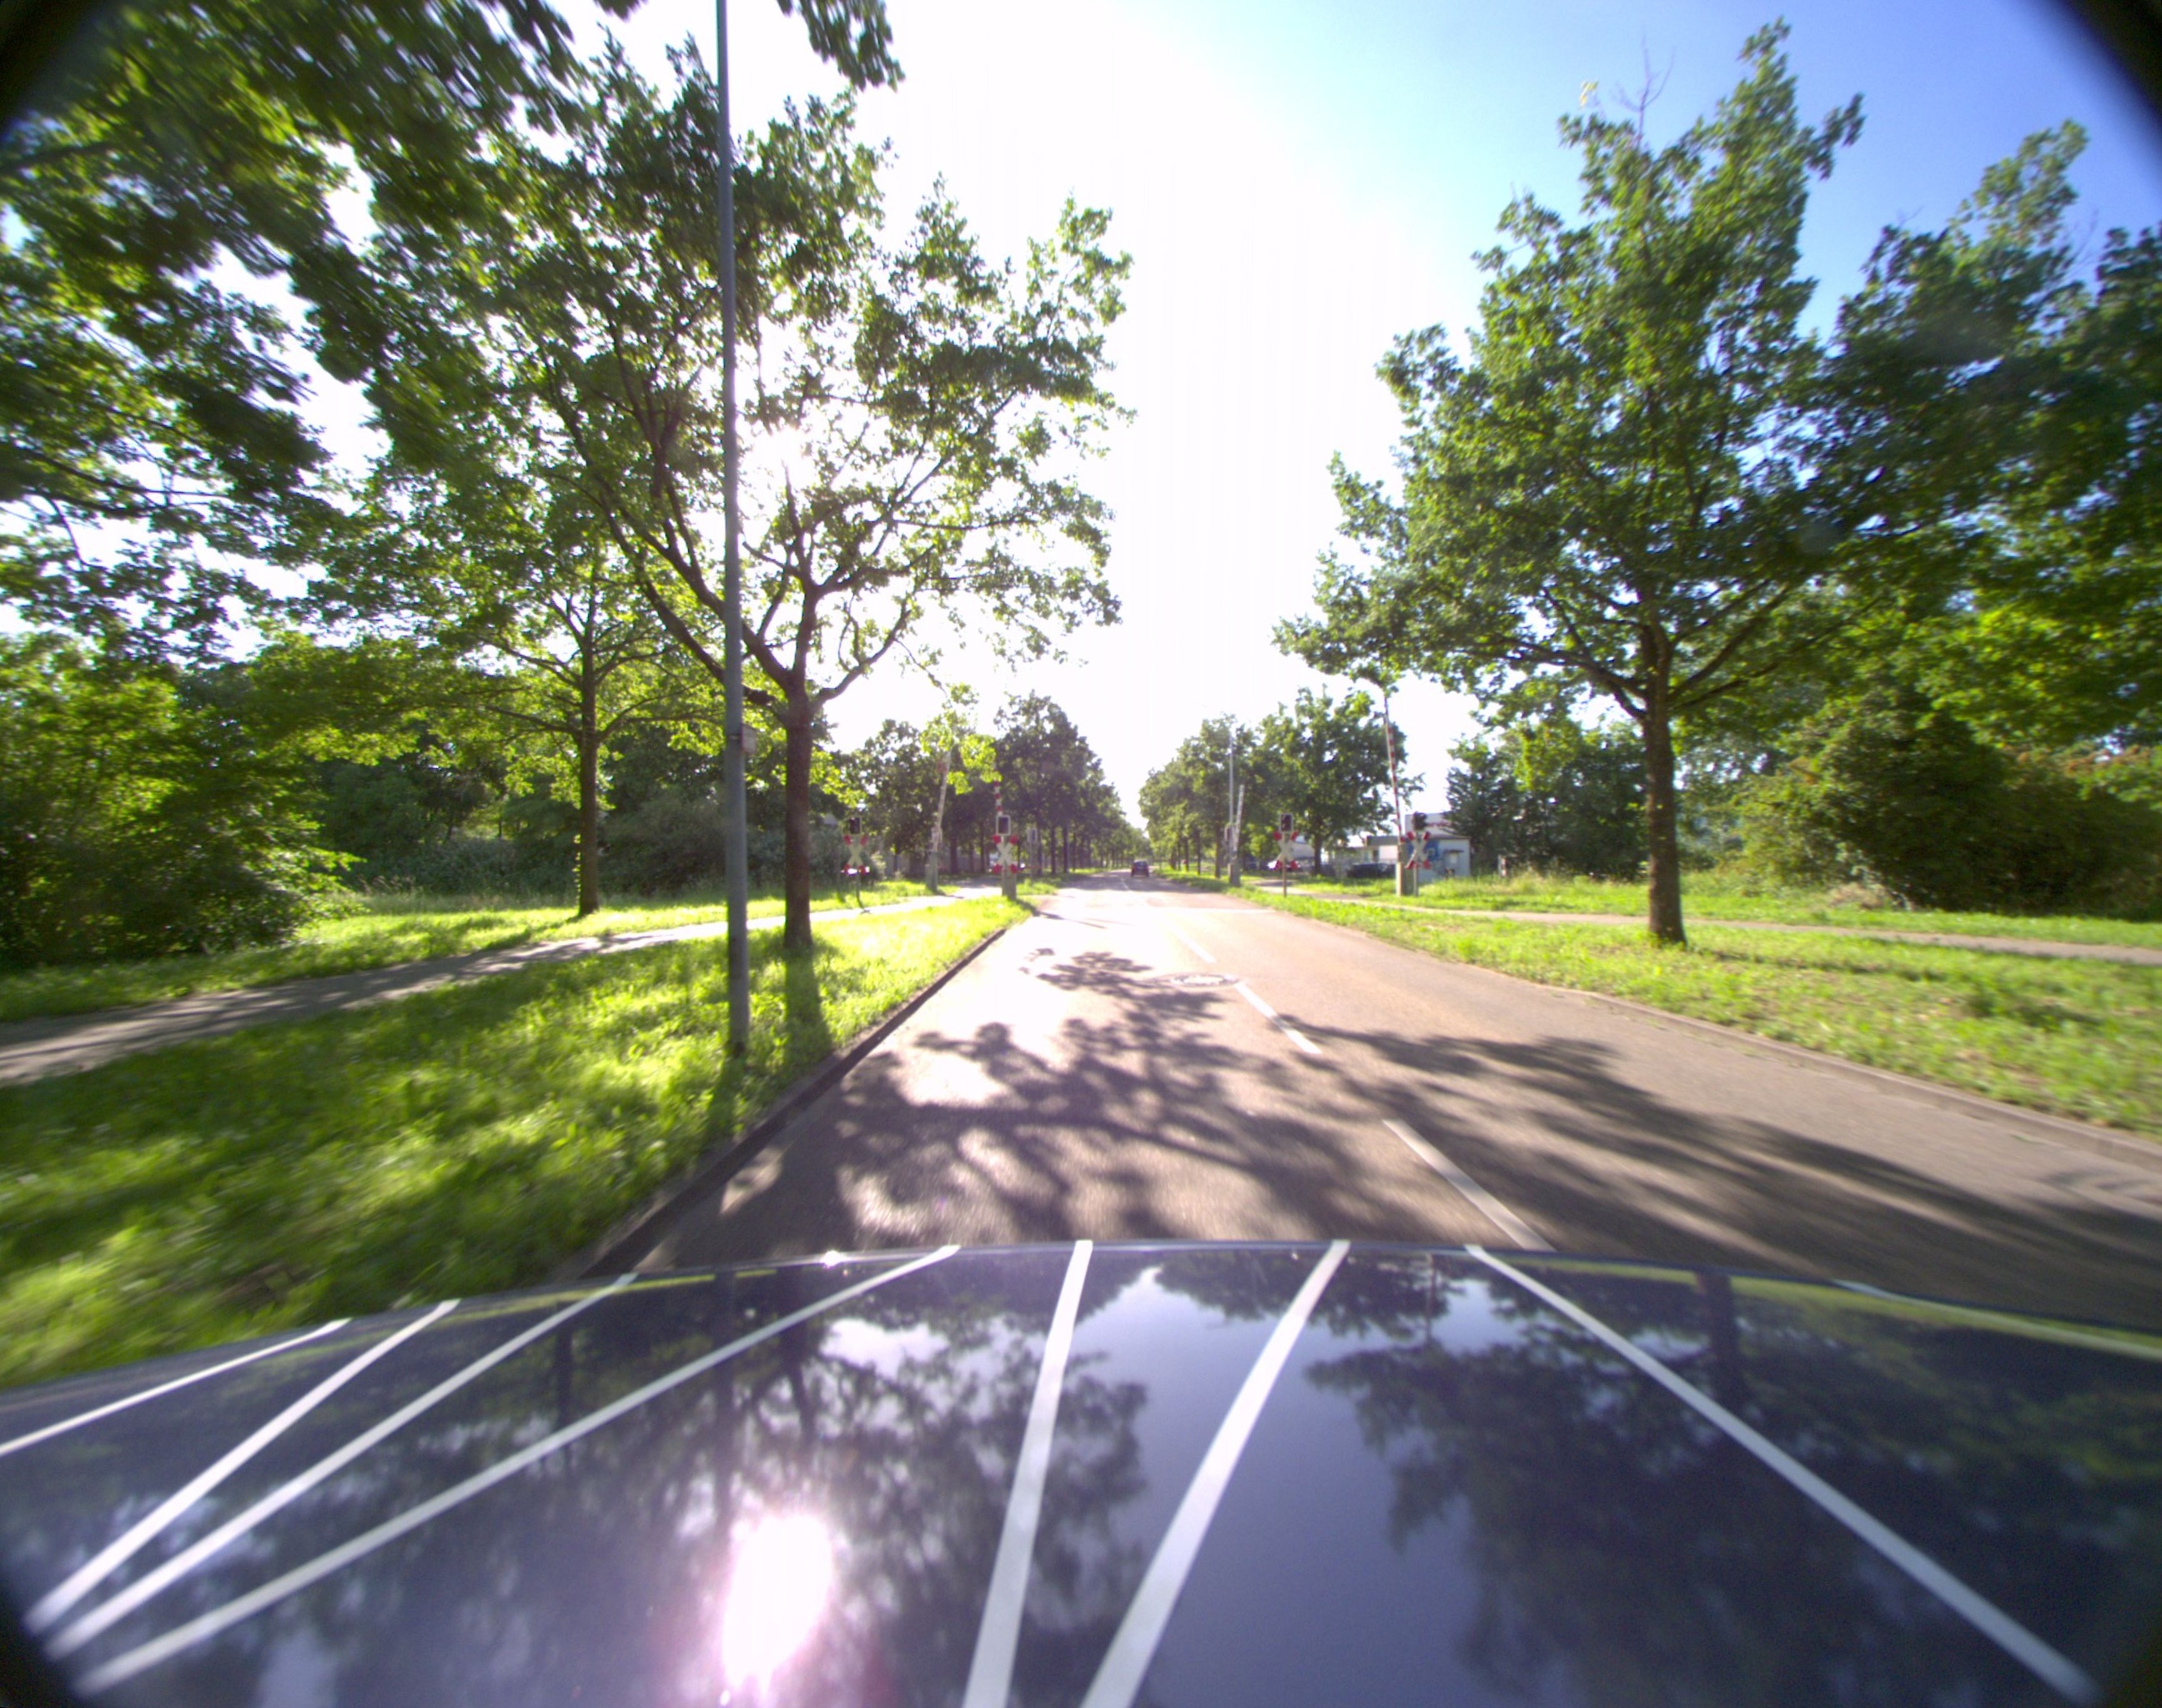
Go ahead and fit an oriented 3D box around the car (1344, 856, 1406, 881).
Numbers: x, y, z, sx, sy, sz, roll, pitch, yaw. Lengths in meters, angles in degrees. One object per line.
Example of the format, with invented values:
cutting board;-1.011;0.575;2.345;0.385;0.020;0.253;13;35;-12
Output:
car;23.070;1.144;59.753;3.998;1.791;2.000;-2;0;-2

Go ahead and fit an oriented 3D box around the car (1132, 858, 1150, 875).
car;5.563;1.154;70.260;1.569;1.495;4.001;1;0;3

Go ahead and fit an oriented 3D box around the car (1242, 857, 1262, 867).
car;24.501;1.155;108.543;2.569;1.461;1.428;-1;0;22

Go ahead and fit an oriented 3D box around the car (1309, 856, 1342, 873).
car;25.155;1.086;78.365;1.998;1.588;5.016;-2;0;4
